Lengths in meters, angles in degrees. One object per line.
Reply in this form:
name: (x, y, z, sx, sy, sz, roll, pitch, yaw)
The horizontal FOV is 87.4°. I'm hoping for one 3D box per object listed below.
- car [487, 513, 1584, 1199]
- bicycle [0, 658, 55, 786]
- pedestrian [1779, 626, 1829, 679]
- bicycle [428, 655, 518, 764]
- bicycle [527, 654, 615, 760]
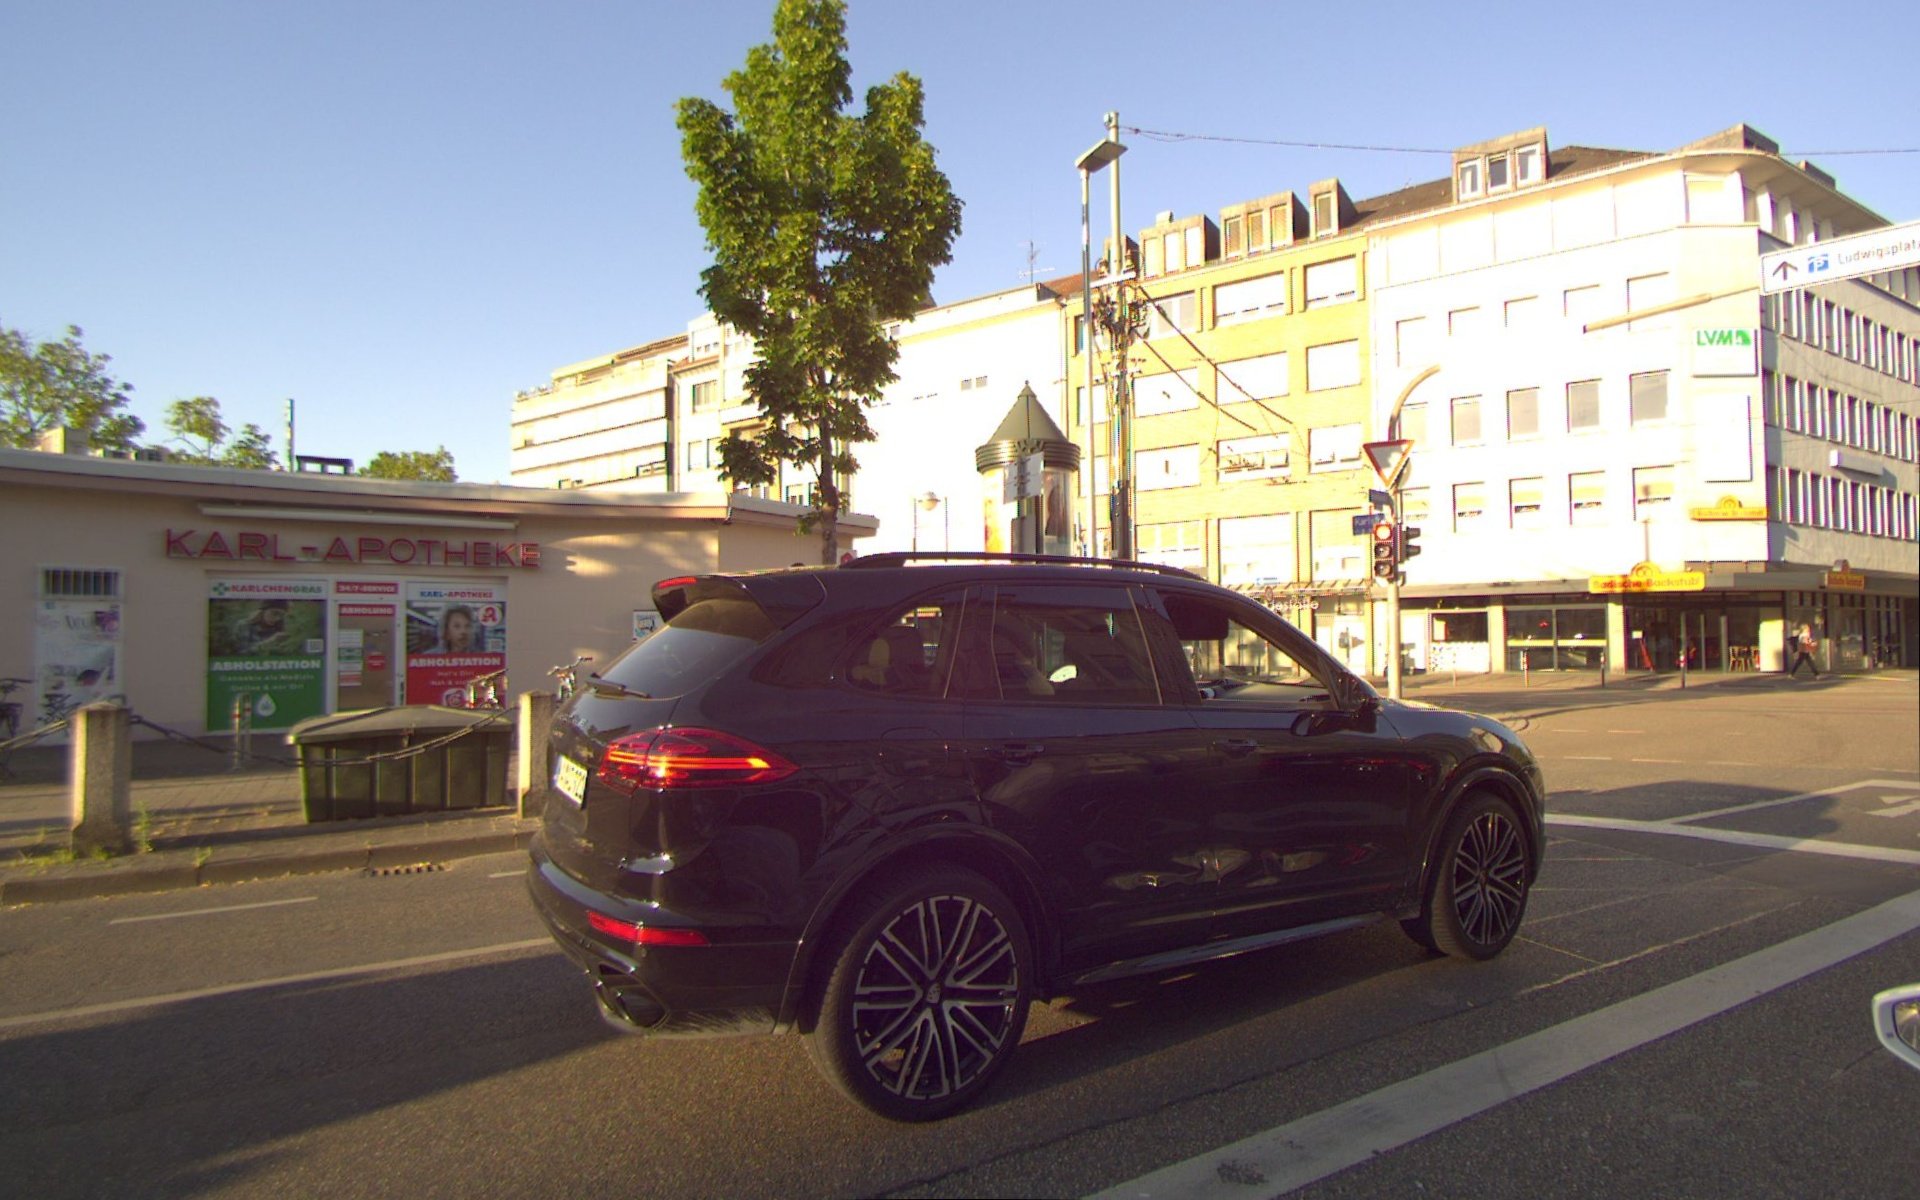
car: (0.534, 0.735, 4.376, 4.512, 1.736, 1.938, 1, -3, -33)
bicycle: (-10.226, 1.255, 10.562, 0.625, 1.273, 1.846, 1, -3, -29)
pedestrian: (25.333, 1.566, 30.161, 0.931, 1.557, 0.908, -1, -2, 27)
bicycle: (-6.338, 1.356, 13.012, 0.938, 1.273, 1.997, 1, -3, -29)
bicycle: (-5.283, 1.380, 13.551, 0.778, 1.273, 2.433, 1, -3, -29)
